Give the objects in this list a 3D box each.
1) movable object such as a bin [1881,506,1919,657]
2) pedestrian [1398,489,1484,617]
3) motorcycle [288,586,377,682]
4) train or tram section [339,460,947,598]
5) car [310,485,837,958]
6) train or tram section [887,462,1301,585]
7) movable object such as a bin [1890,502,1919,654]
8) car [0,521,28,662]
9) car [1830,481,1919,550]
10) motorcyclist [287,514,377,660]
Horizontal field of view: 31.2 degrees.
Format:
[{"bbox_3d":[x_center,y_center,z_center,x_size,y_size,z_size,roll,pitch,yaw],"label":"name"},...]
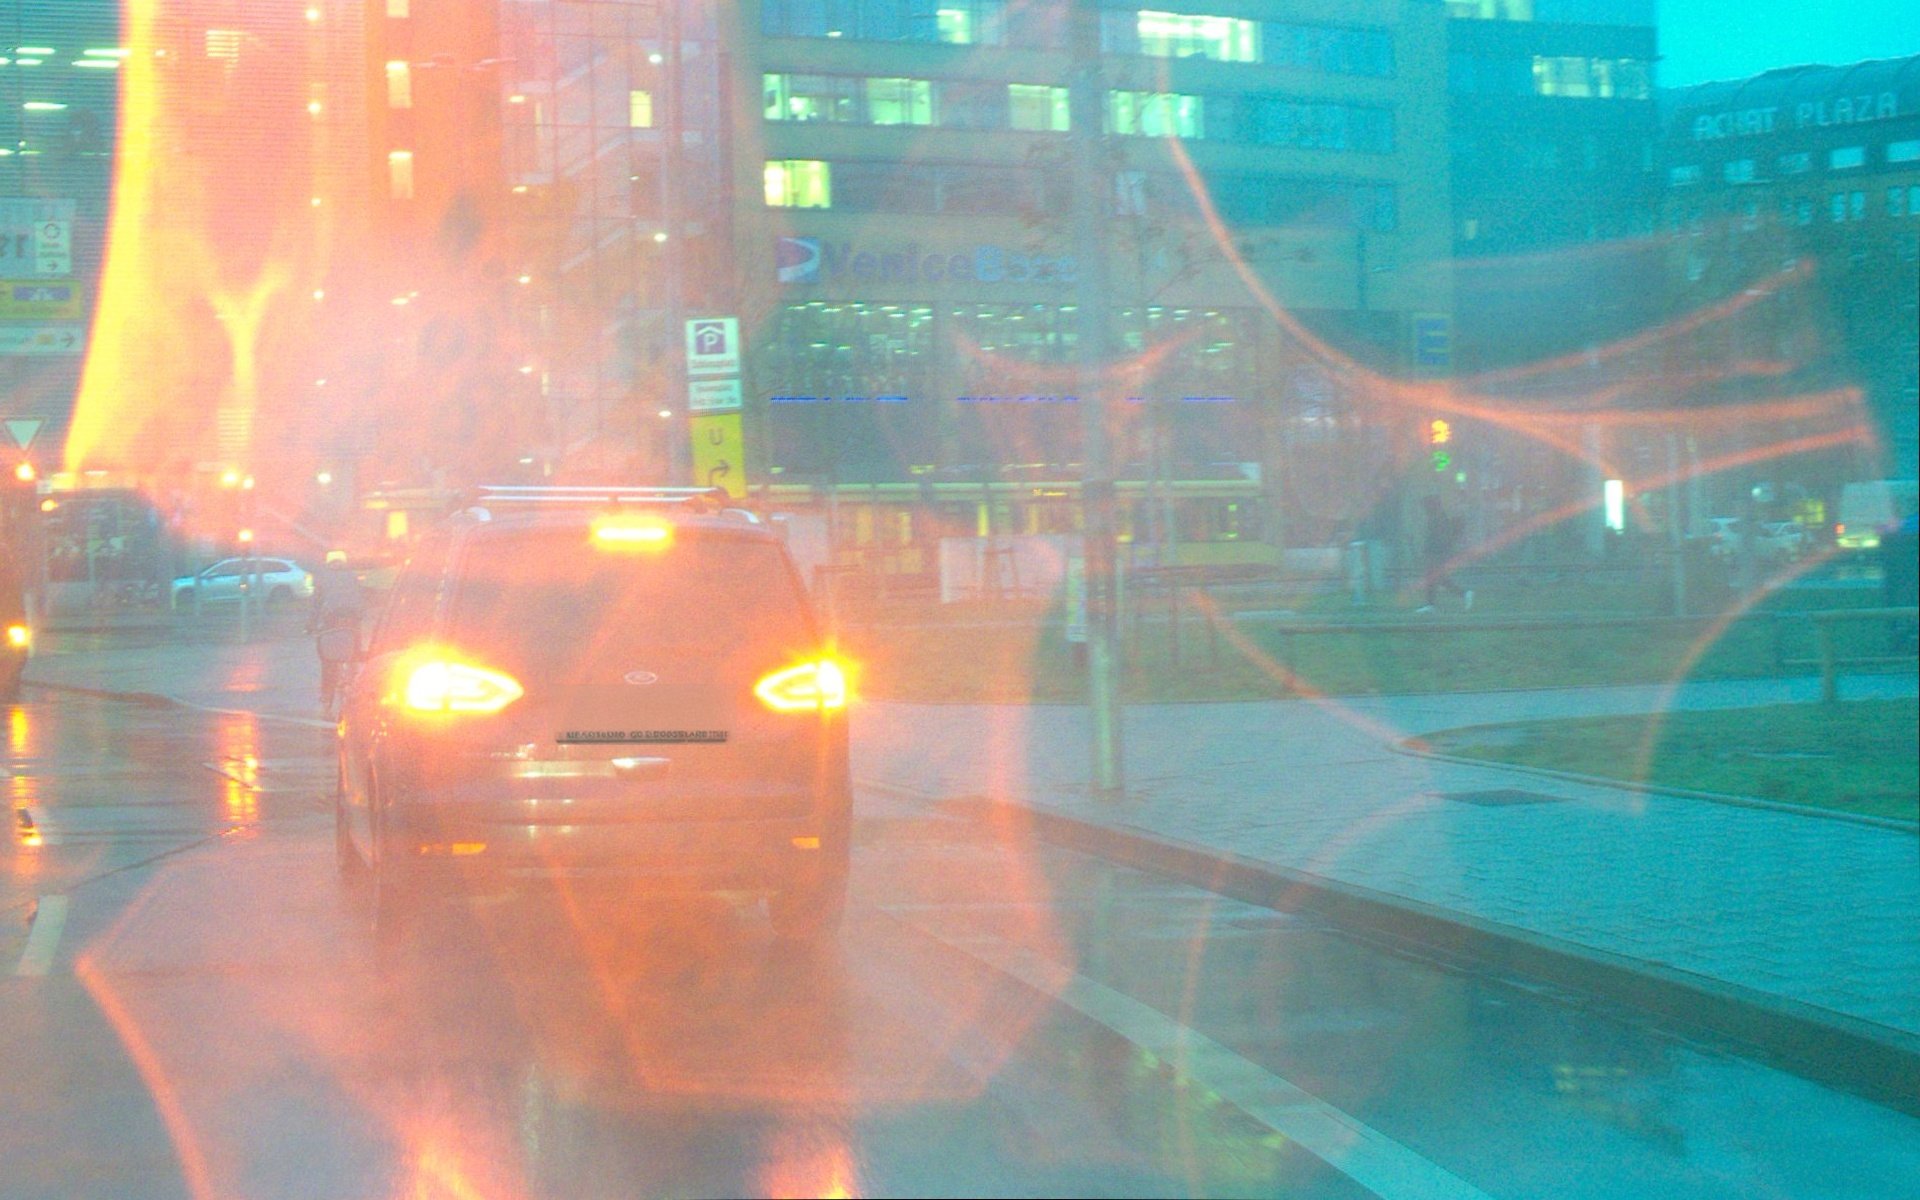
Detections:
[{"bbox_3d":[9.368,-0.202,32.903,1.014,1.411,1.223,-2,1,16],"label":"movable object such as a bin"},{"bbox_3d":[7.350,-0.715,52.536,1.170,1.917,0.898,1,0,2],"label":"pedestrian"},{"bbox_3d":[-6.710,0.350,36.822,0.852,0.968,1.582,-1,1,-8],"label":"motorcycle"},{"bbox_3d":[-7.756,-1.905,87.942,16.609,3.249,2.336,-2,1,-37],"label":"train or tram section"},{"bbox_3d":[-1.815,0.447,14.858,1.734,1.732,4.248,1,0,-13],"label":"car"},{"bbox_3d":[3.951,-2.204,96.591,12.960,3.249,2.336,-2,1,-37],"label":"train or tram section"},{"bbox_3d":[9.809,-0.236,34.222,1.028,1.490,1.328,-1,1,16],"label":"movable object such as a bin"},{"bbox_3d":[-12.717,-0.105,42.522,1.636,1.691,3.671,0,0,-26],"label":"car"},{"bbox_3d":[29.541,-2.598,107.034,4.933,2.007,2.000,1,0,-36],"label":"car"},{"bbox_3d":[-6.712,-0.146,36.785,0.868,1.529,1.108,-1,1,-8],"label":"motorcyclist"}]
